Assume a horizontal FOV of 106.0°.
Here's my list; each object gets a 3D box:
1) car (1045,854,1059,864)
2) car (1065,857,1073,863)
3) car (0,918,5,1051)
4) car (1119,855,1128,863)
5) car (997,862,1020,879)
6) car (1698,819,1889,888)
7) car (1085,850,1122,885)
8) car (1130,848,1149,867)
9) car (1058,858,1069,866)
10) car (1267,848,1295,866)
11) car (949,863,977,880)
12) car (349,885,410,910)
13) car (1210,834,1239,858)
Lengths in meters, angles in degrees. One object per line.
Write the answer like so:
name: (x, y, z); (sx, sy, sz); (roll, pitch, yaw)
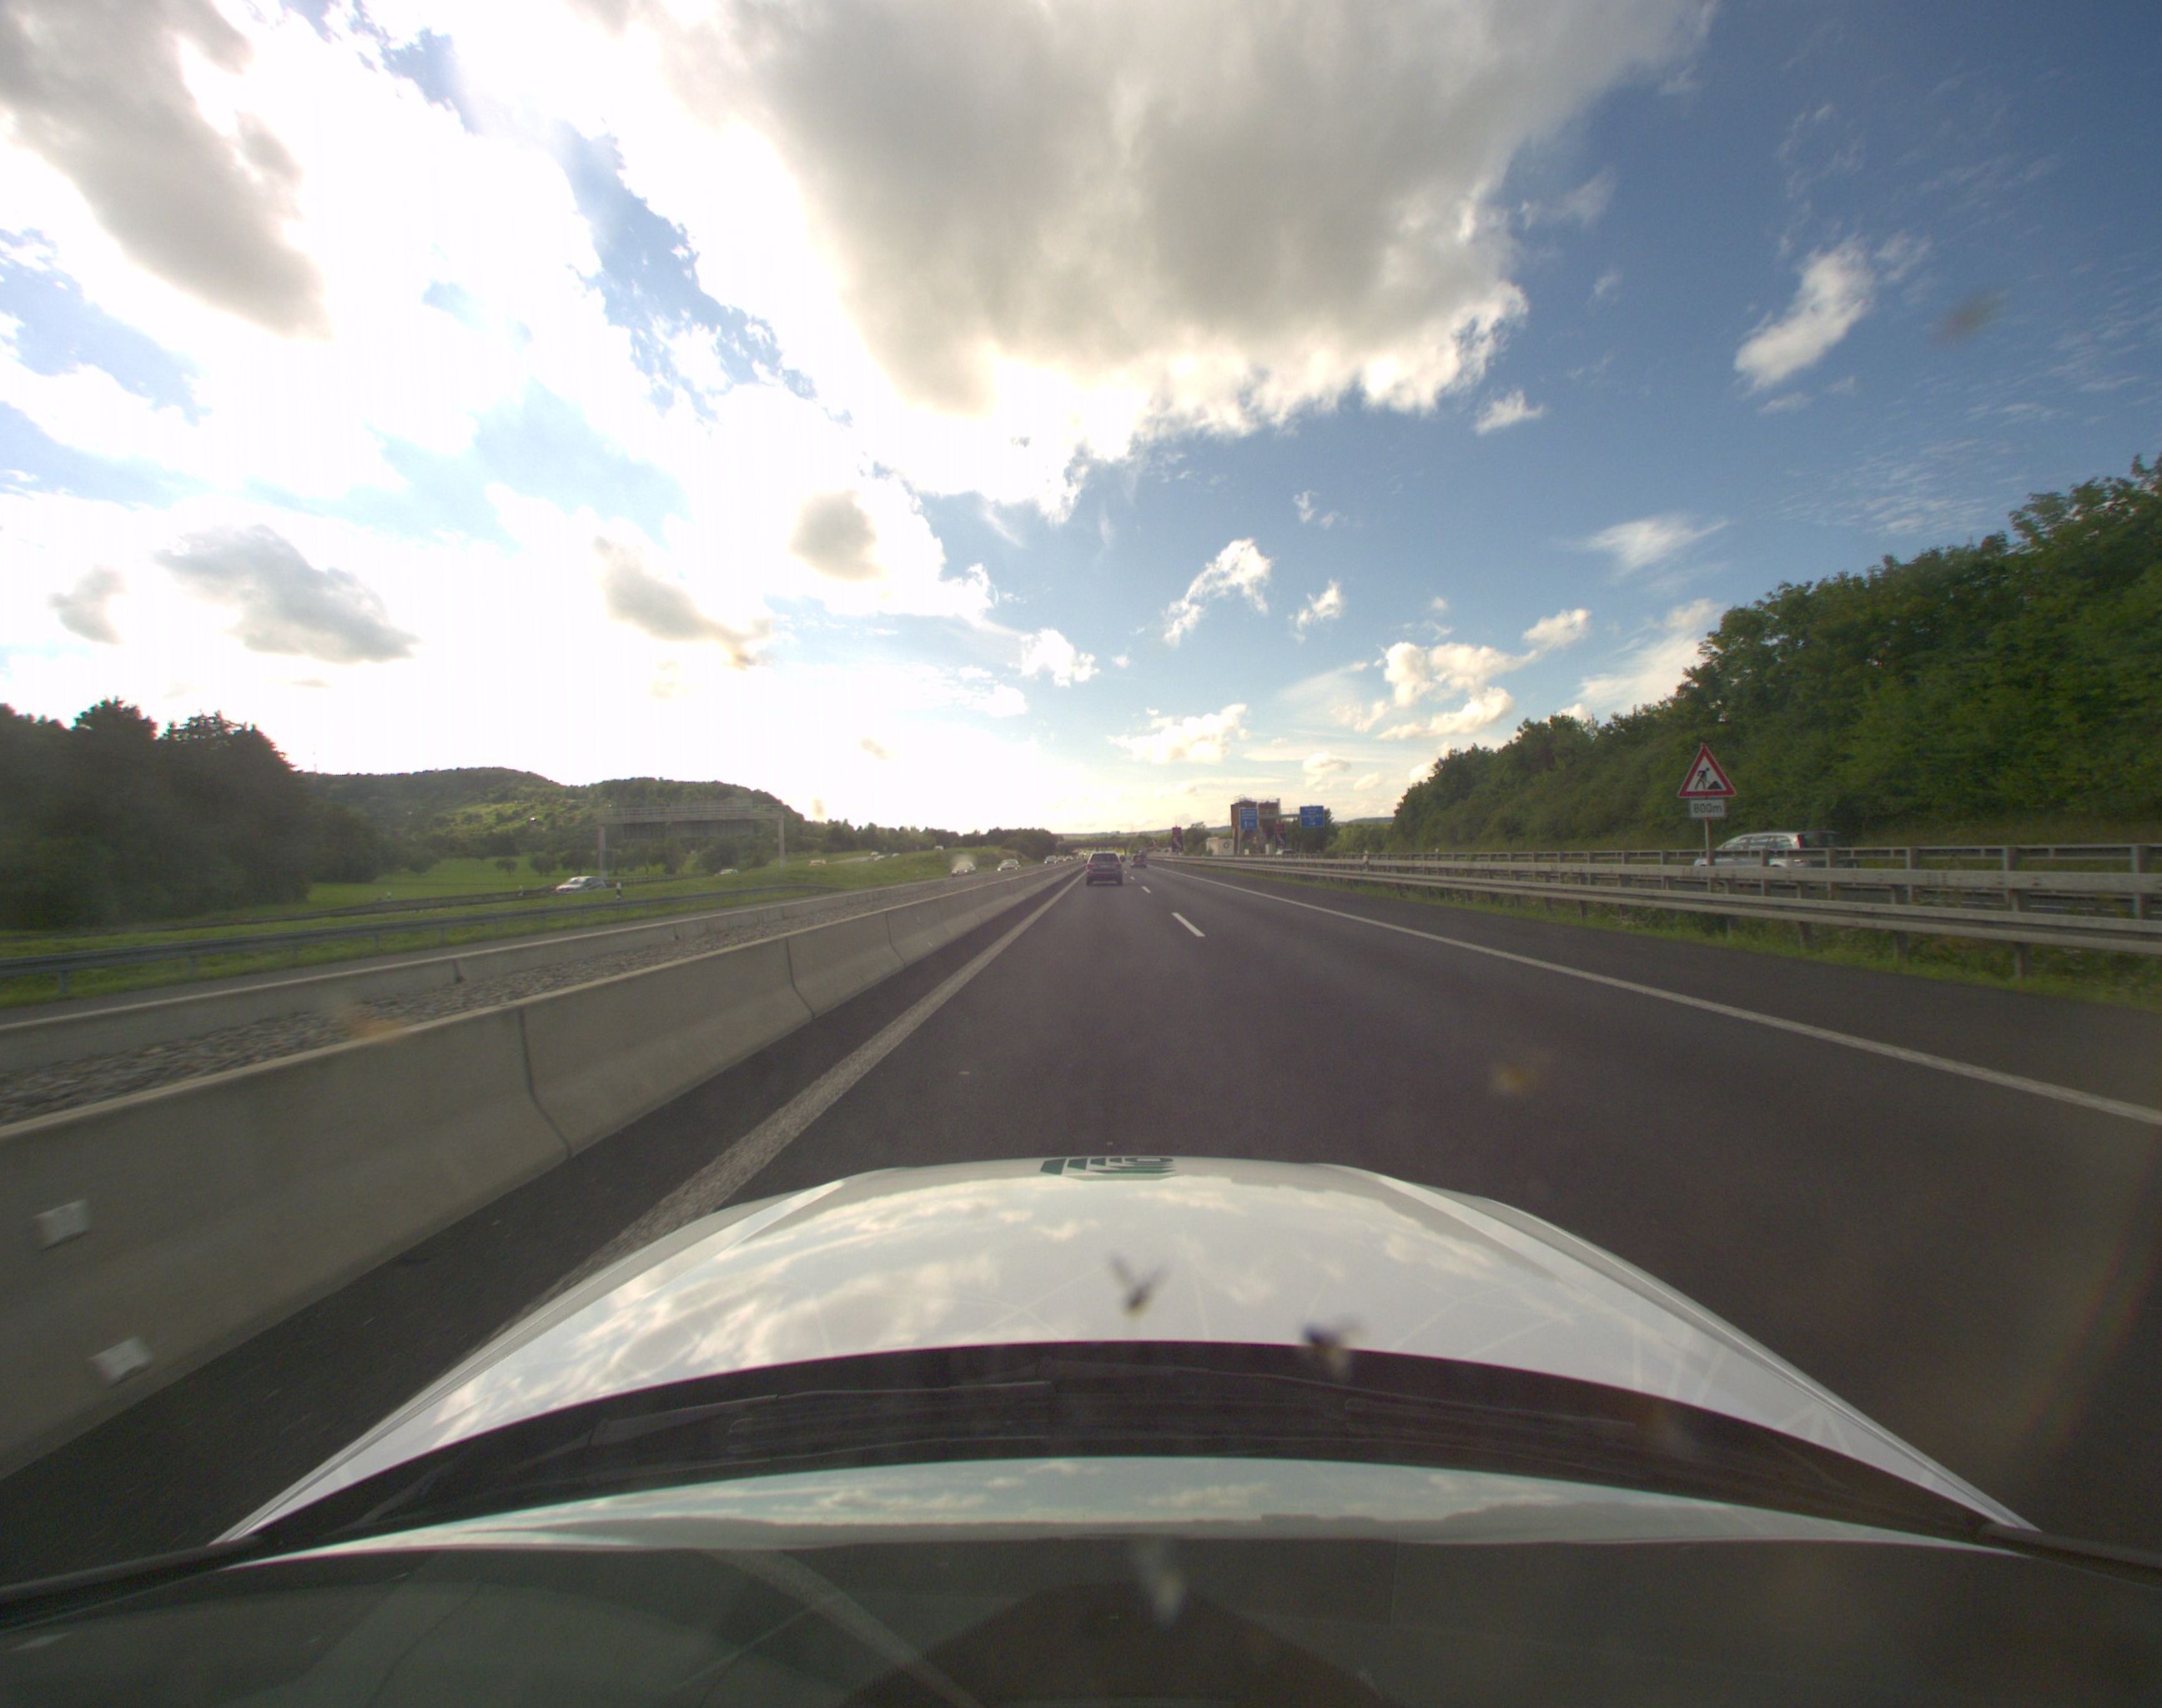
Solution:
car: (-4.378, 0.720, 123.497); (1.781, 1.398, 4.727); (-3, 0, 2)
car: (-2.987, 1.453, 199.725); (1.781, 1.398, 4.624); (-3, 0, 2)
car: (-12.367, 1.413, 6.291); (1.747, 1.402, 4.693); (-3, 0, 2)
car: (10.398, 1.239, 198.452); (1.967, 1.779, 4.121); (-3, 0, 1)
car: (-6.497, 1.484, 73.334); (1.636, 1.398, 3.743); (-3, 0, 1)
car: (20.306, -0.006, 23.476); (1.986, 1.708, 4.002); (-3, 0, 2)
car: (1.193, 0.692, 42.057); (1.742, 1.630, 3.612); (-3, 0, 3)
car: (6.678, 0.391, 93.474); (1.986, 2.081, 4.002); (-3, 0, 2)
car: (-3.411, 1.578, 159.671); (1.781, 1.398, 4.801); (-3, 0, 2)
car: (20.961, 0.317, 85.475); (1.986, 1.717, 4.002); (-3, 0, 2)
car: (-10.808, 1.588, 74.850); (1.721, 1.398, 4.159); (-3, 0, 2)
car: (-63.474, 3.918, 73.766); (1.988, 2.013, 3.997); (-3, 0, -2)
car: (23.739, -1.226, 134.994); (3.563, 3.676, 7.552); (-3, 0, 2)
